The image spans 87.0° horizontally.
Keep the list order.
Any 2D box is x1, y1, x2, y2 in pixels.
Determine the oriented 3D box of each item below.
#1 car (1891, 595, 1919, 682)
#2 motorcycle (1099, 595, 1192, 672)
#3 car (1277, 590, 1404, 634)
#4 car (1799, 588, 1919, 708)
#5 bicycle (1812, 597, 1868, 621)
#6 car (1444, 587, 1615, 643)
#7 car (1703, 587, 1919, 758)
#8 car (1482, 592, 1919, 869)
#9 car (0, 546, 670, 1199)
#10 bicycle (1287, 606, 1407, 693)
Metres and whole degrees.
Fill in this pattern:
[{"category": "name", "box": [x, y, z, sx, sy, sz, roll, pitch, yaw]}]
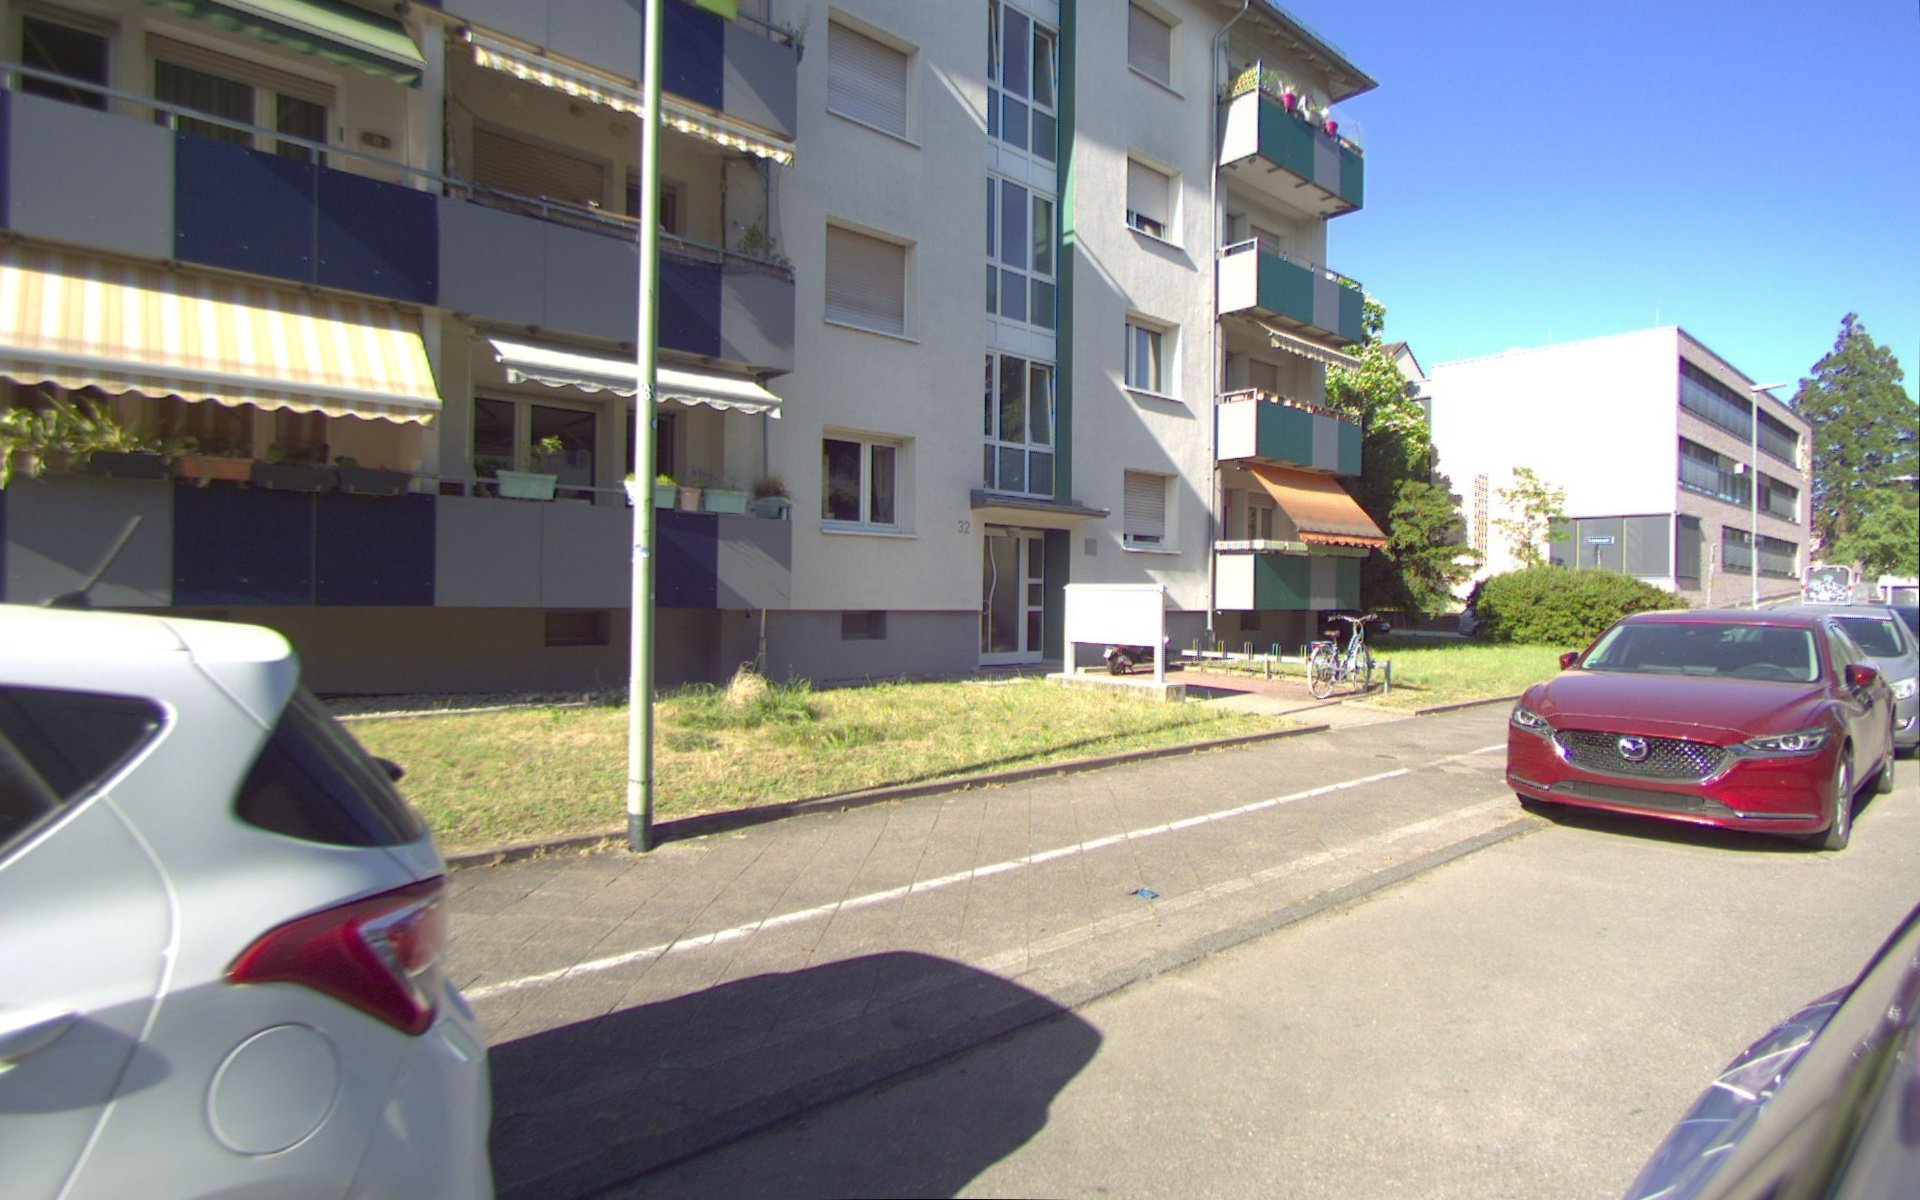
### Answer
[{"category": "car", "box": [18.182, 0.659, 18.229, 3.726, 1.493, 1.661, 0, -1, -41]}, {"category": "motorcycle", "box": [3.026, 0.502, 16.347, 0.582, 1.166, 2.008, 0, 1, 40]}, {"category": "car", "box": [13.855, 0.399, 36.991, 1.792, 1.530, 3.976, 0, 1, -42]}, {"category": "car", "box": [13.979, 0.621, 14.872, 4.476, 1.549, 1.773, 0, 0, -40]}, {"category": "bicycle", "box": [45.633, 0.456, 52.483, 0.867, 1.076, 2.029, 0, 4, -41]}, {"category": "car", "box": [18.085, 0.415, 32.278, 1.882, 1.644, 4.412, 0, 1, -43]}, {"category": "car", "box": [9.877, 0.655, 11.301, 4.420, 1.553, 1.874, 0, 1, -45]}, {"category": "car", "box": [6.005, 0.697, 7.834, 4.978, 1.491, 1.846, 0, 1, -42]}, {"category": "car", "box": [-2.456, 0.682, 1.027, 3.797, 1.517, 1.749, 0, 1, -44]}, {"category": "bicycle", "box": [5.311, 0.633, 13.836, 1.862, 1.091, 0.721, 0, 0, -40]}]
